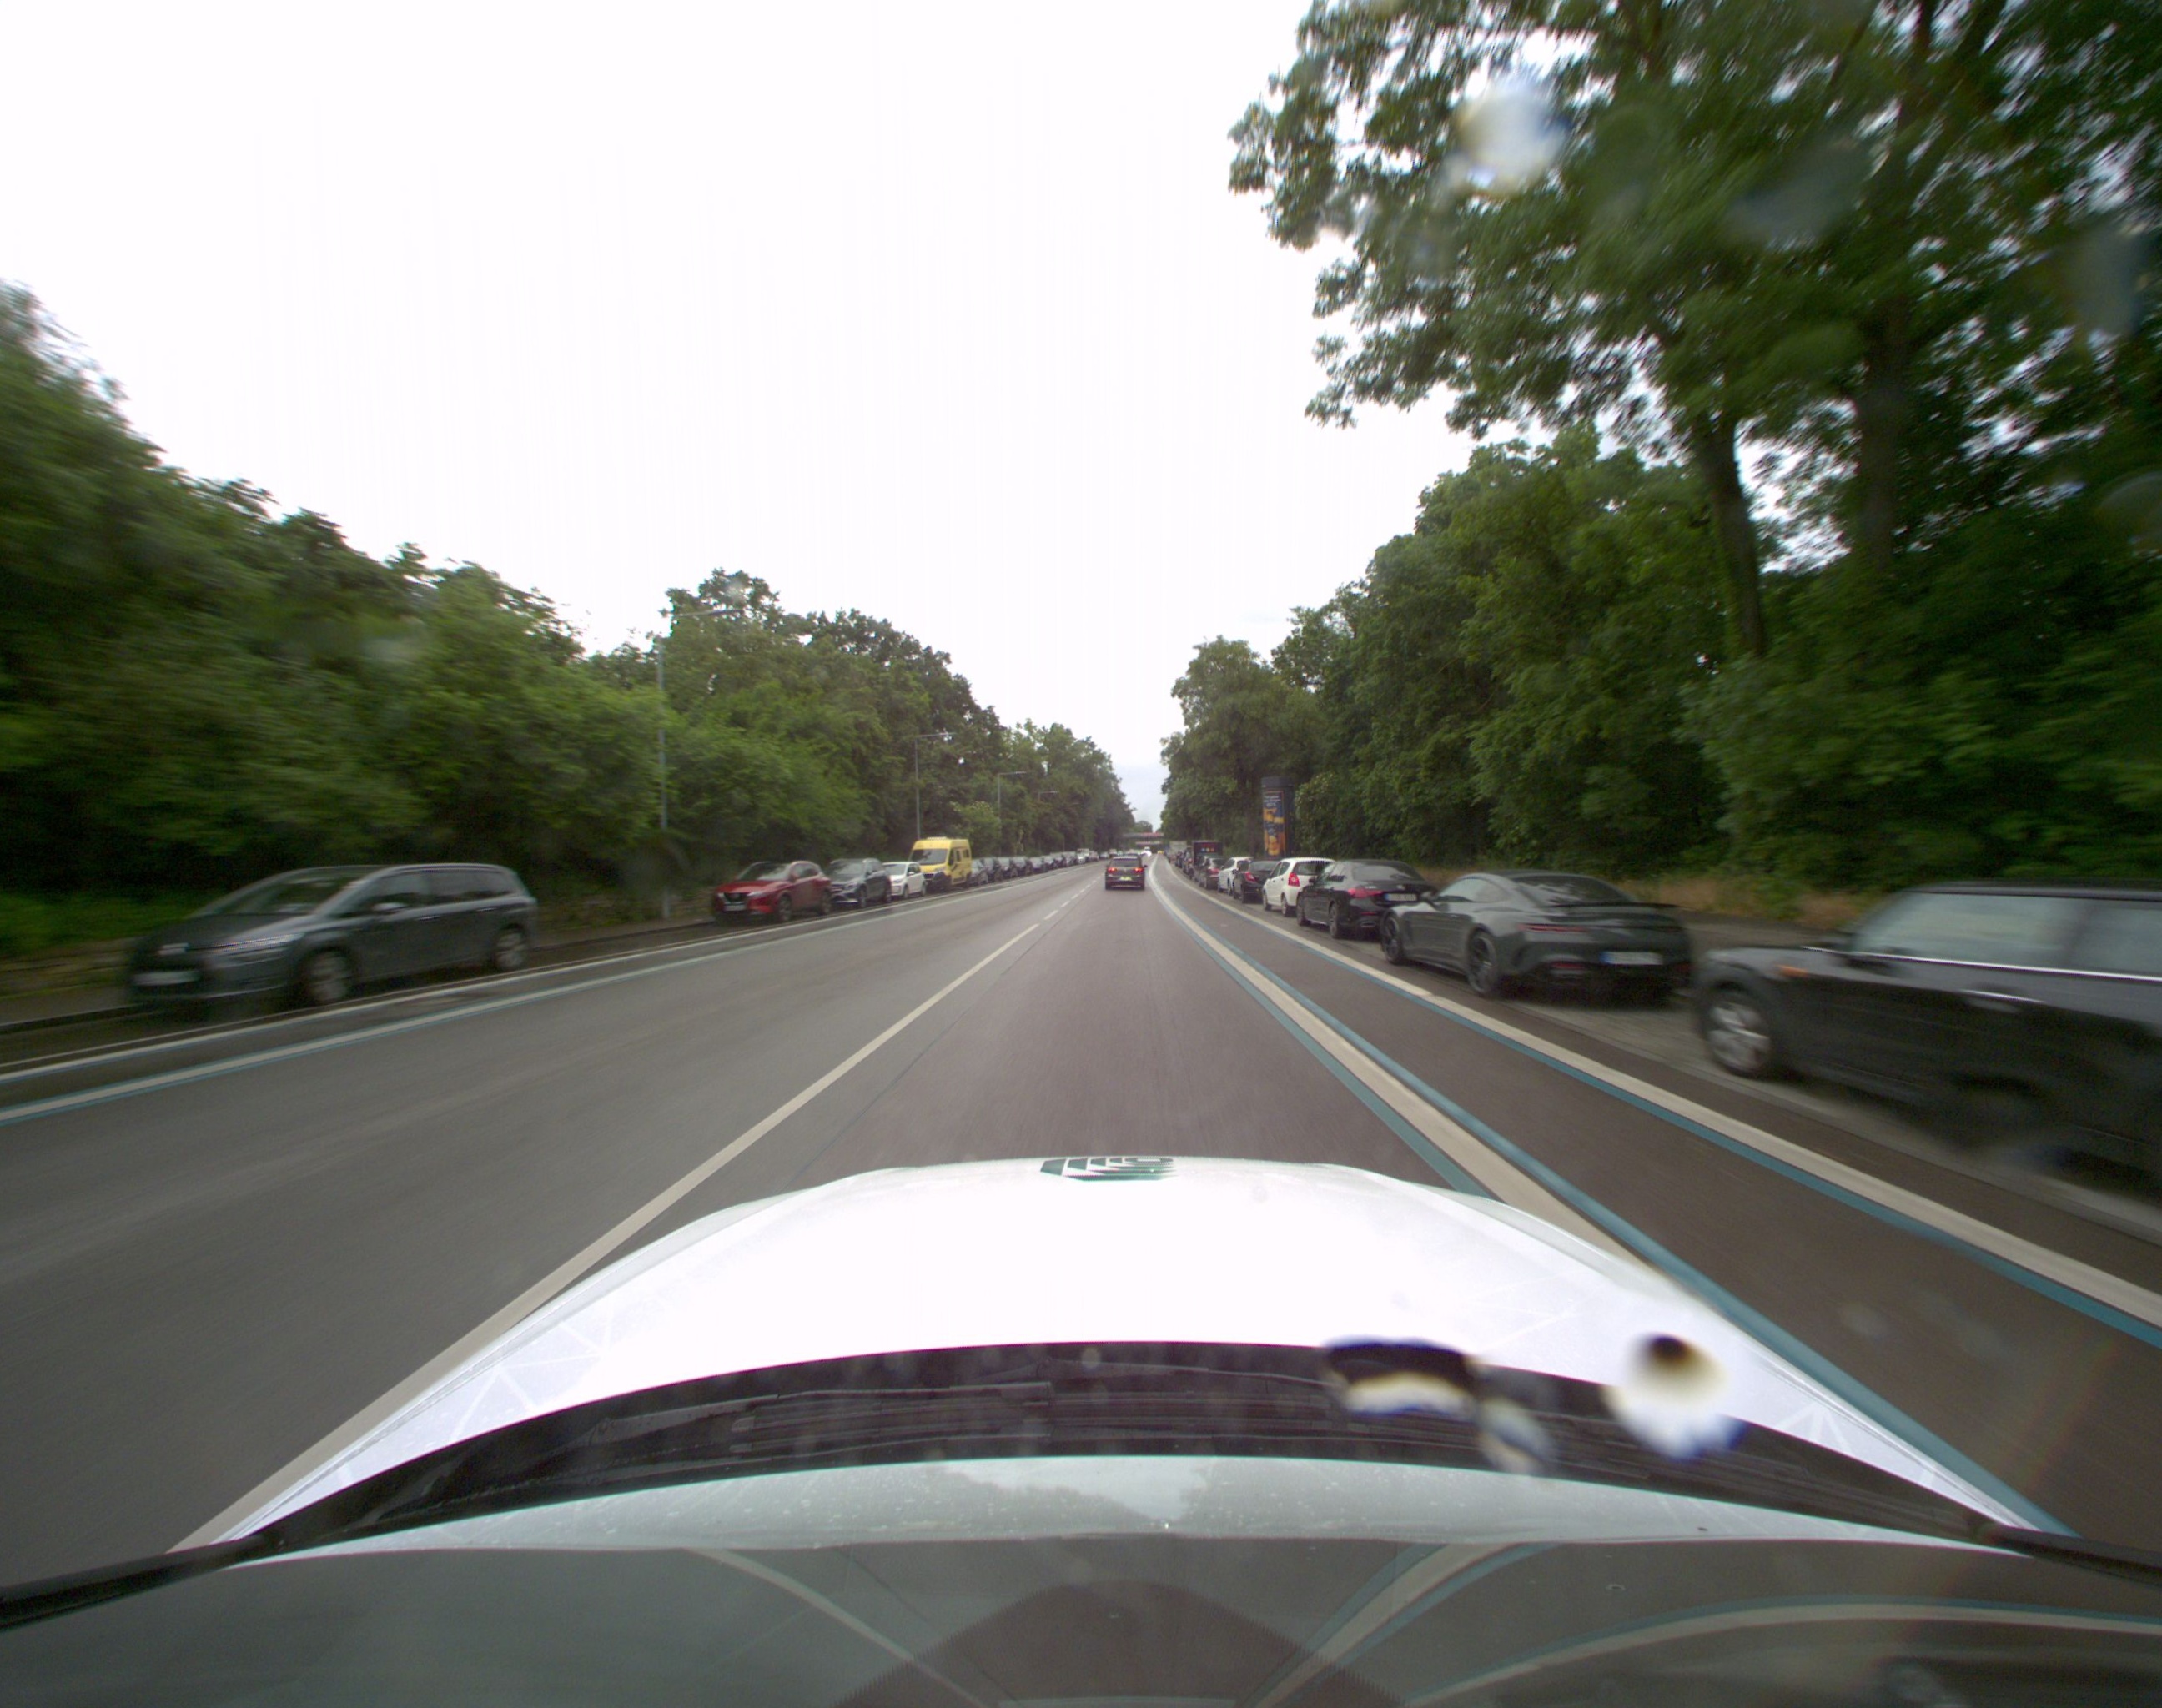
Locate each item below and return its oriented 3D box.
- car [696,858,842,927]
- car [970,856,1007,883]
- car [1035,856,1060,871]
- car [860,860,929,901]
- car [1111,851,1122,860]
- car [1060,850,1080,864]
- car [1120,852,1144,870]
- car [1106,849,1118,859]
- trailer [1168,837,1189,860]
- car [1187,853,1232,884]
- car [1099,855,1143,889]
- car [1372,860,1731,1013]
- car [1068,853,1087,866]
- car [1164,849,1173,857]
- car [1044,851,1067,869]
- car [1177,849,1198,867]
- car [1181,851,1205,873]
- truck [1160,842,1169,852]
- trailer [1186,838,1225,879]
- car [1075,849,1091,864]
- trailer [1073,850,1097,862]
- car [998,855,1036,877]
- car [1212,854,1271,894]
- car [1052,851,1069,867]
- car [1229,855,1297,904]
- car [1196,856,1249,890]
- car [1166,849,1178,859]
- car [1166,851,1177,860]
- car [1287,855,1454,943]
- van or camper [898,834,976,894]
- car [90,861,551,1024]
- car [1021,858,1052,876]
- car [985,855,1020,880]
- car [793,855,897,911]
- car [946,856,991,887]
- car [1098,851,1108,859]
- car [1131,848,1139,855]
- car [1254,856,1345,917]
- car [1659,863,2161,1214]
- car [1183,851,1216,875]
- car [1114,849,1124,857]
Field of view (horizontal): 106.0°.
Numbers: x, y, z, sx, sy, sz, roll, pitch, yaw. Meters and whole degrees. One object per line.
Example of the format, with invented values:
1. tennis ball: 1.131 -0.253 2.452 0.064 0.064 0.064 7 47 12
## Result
1. car: -8.447 0.973 22.539 1.910 1.617 4.496 -2 0 5
2. car: -5.649 0.925 50.102 1.594 1.510 3.144 -1 0 6
3. car: -3.017 0.864 74.740 1.688 1.300 4.199 -1 0 5
4. car: -7.461 1.028 32.932 1.609 1.448 3.662 -2 0 5
5. car: 8.304 0.379 190.738 2.148 2.013 5.039 -1 0 6
6. car: -1.298 0.353 96.734 1.870 1.561 4.475 -1 0 5
7. car: 4.299 0.563 69.047 1.873 1.466 4.002 1 0 2
8. car: 6.991 -0.030 182.726 2.148 2.013 5.039 -1 0 6
9. trailer: 11.308 -0.590 94.507 2.123 2.560 4.300 -1 0 3
10. car: 6.637 0.708 42.450 1.815 1.485 4.202 1 0 2
11. car: 1.819 0.810 36.740 1.863 1.441 4.299 0 -1 3
12. car: 5.194 0.793 9.825 1.846 1.399 4.385 0 0 0
13. car: -0.404 0.689 103.187 1.984 1.488 4.475 -1 0 5
14. car: 21.818 -0.272 202.366 1.984 2.013 4.004 -1 0 4
15. car: -2.491 0.570 79.887 1.688 1.584 4.145 -1 0 5
16. car: 9.343 0.356 71.683 1.674 1.481 4.324 0 1 4
17. car: 8.089 0.553 59.039 1.607 1.470 4.006 0 0 5
18. truck: 22.305 -1.741 217.460 2.102 2.599 4.307 -1 0 5
19. trailer: 7.270 0.246 48.044 1.897 2.247 4.774 -1 0 4
20. car: 0.310 0.389 113.559 1.932 2.013 4.743 -1 0 2
21. trailer: 0.529 0.224 118.416 1.609 1.628 3.696 -1 0 36
22. car: -4.653 0.874 59.924 1.983 1.452 4.146 -1 0 6
23. car: 6.260 0.728 32.200 1.612 1.466 4.000 0 0 1
24. car: -2.094 0.486 84.329 1.454 1.571 2.987 -1 0 4
25. car: 5.984 0.784 27.137 1.651 1.465 3.904 1 0 4
26. car: 6.337 0.807 36.978 1.745 1.393 4.447 1 0 2
27. car: 15.942 -0.016 142.836 1.888 1.606 4.006 -1 0 5
28. car: 16.436 0.228 147.437 1.888 1.606 4.006 -1 0 5
29. car: 5.498 0.770 16.153 1.848 1.455 4.755 0 0 3
30. van or camper: -6.801 0.415 39.228 2.133 2.627 5.691 -1 0 6
31. car: -9.463 0.949 10.819 1.725 1.649 4.573 -1 0 2
32. car: -3.527 0.996 65.021 1.861 1.304 4.476 -1 0 5
33. car: -5.306 0.888 55.447 1.594 1.510 3.983 -1 0 6
34. car: -7.958 0.906 27.951 1.985 1.700 4.619 -1 0 3
35. car: -6.188 0.929 45.051 1.672 1.498 4.152 -2 0 3
36. car: 4.320 0.148 158.436 1.665 1.513 3.635 0 1 4
37. car: 13.365 -0.613 200.676 1.813 1.706 3.862 0 0 5
38. car: 5.695 0.788 21.617 1.554 1.460 3.677 0 0 2
39. car: 5.289 0.783 4.424 1.691 1.413 3.703 1 0 0
40. car: 7.746 0.559 53.421 1.787 1.450 4.433 -1 0 4
41. car: 9.625 -0.173 207.658 2.148 2.013 5.039 -1 0 6
